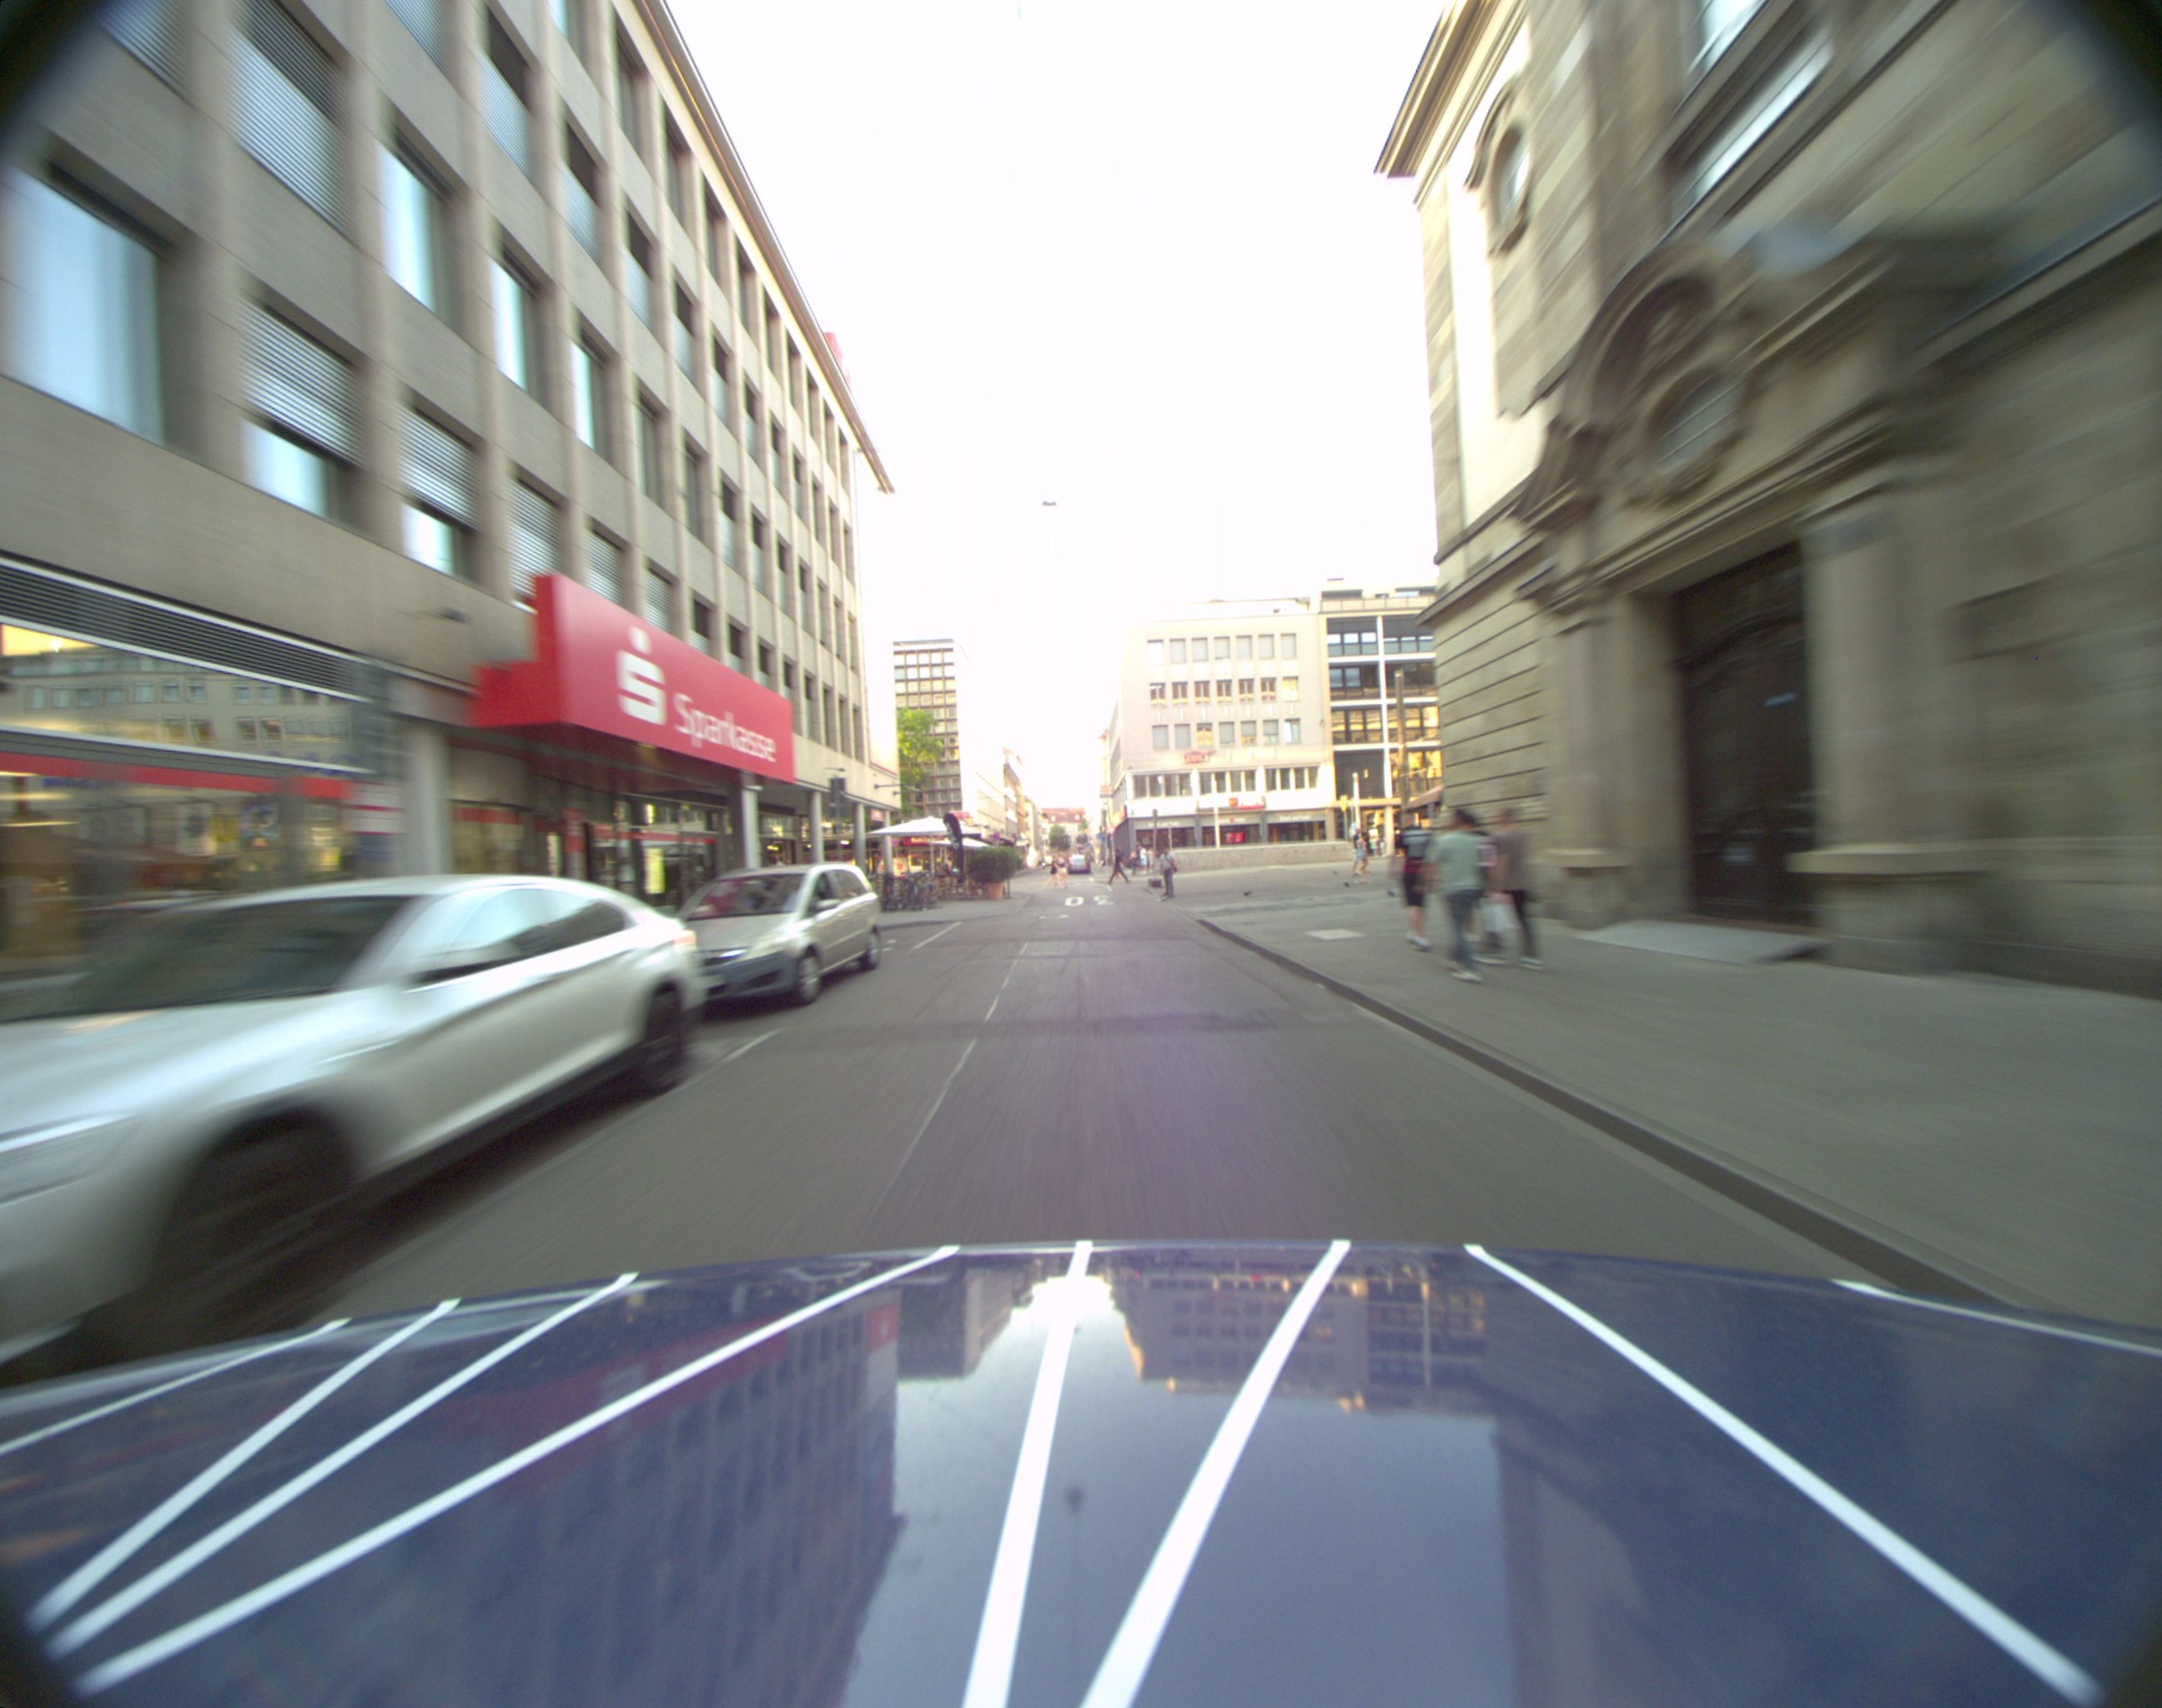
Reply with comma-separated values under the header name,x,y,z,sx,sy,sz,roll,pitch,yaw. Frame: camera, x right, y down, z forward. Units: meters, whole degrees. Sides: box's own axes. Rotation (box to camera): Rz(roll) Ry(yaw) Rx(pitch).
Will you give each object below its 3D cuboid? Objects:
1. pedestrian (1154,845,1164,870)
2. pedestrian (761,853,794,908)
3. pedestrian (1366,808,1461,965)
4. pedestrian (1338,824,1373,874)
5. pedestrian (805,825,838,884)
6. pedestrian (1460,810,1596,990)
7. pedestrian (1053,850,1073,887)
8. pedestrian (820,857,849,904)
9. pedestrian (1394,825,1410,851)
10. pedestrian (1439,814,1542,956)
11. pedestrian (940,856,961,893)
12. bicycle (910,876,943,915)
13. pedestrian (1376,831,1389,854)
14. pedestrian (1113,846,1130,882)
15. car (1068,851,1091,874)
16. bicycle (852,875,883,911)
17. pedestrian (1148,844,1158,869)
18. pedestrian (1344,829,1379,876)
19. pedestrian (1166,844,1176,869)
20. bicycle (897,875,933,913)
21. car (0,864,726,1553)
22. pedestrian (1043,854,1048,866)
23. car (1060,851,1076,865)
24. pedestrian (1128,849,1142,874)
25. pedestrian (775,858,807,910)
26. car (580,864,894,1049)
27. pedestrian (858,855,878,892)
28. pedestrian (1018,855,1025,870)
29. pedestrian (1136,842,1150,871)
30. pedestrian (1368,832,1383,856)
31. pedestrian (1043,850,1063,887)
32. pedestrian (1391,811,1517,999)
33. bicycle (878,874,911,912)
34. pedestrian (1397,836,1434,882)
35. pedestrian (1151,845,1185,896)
name,x,y,z,sx,sy,sz,roll,pitch,yaw
pedestrian,5.440,0.212,52.785,0.546,1.698,0.558,-4,1,0
pedestrian,-10.065,0.868,25.228,0.800,1.751,0.687,-2,1,-7
pedestrian,4.155,0.386,9.551,0.718,1.819,0.870,-6,1,7
pedestrian,10.039,-0.173,27.797,0.862,1.751,0.745,-5,1,-2
pedestrian,-8.568,0.010,25.079,0.799,1.908,0.687,-2,1,-4
pedestrian,4.479,0.440,7.679,0.731,1.658,0.858,-6,1,2
pedestrian,-0.825,0.675,35.306,0.796,1.679,0.769,-2,1,2
pedestrian,-9.462,1.021,29.199,0.801,1.751,0.685,-3,1,-38
pedestrian,21.356,-1.074,50.569,0.709,1.698,0.681,-4,1,5
pedestrian,5.042,0.368,9.404,0.757,1.632,0.749,-6,1,7
pedestrian,-6.118,0.957,35.566,0.797,1.679,0.768,-2,1,-20
bicycle,-4.612,1.223,22.747,0.330,1.027,1.865,-2,0,8
pedestrian,21.079,-0.776,53.081,0.572,1.577,0.492,-4,1,-32
pedestrian,1.915,0.464,35.741,0.732,1.679,0.746,-2,1,2
car,-0.154,0.686,63.216,1.824,1.728,3.999,-2,0,-1
bicycle,-6.650,1.189,23.767,0.383,1.027,1.864,-2,0,0
pedestrian,4.922,0.192,52.177,0.546,1.698,0.558,-4,1,0
pedestrian,9.969,-0.061,27.006,0.865,1.581,0.738,-5,1,-2
pedestrian,6.266,0.180,53.008,0.546,1.698,0.558,-4,1,0
bicycle,-4.962,1.173,22.793,0.383,1.027,1.865,-2,0,8
car,-3.792,0.997,3.866,1.781,1.656,4.811,-4,1,-3
pedestrian,-4.788,0.792,102.397,0.649,1.651,0.650,-2,1,1
car,-1.565,0.464,93.495,1.799,1.705,4.000,-2,0,1
pedestrian,3.379,0.464,47.544,0.676,1.532,0.641,-3,1,-14
pedestrian,-9.938,1.017,26.079,0.800,1.751,0.687,-2,1,-7
car,-3.902,1.023,9.690,1.744,1.589,4.713,-5,0,0
pedestrian,-9.832,0.901,35.118,0.797,1.679,0.768,-2,1,-15
pedestrian,-6.813,0.921,86.316,0.650,1.652,0.650,-4,1,-1
pedestrian,4.118,0.146,50.500,0.783,1.882,0.642,-3,1,-1
pedestrian,20.770,-0.717,53.611,0.671,1.643,0.623,-4,1,-32
pedestrian,-1.273,0.653,34.557,0.796,1.679,0.769,-2,1,2
pedestrian,3.736,0.486,7.681,0.727,1.732,0.839,-6,1,2
bicycle,-5.580,1.161,22.788,0.383,1.027,1.864,-2,0,4
pedestrian,9.773,0.140,22.236,0.778,1.267,0.787,-5,0,16
pedestrian,2.888,0.539,25.260,0.754,1.649,0.742,-3,1,-36
